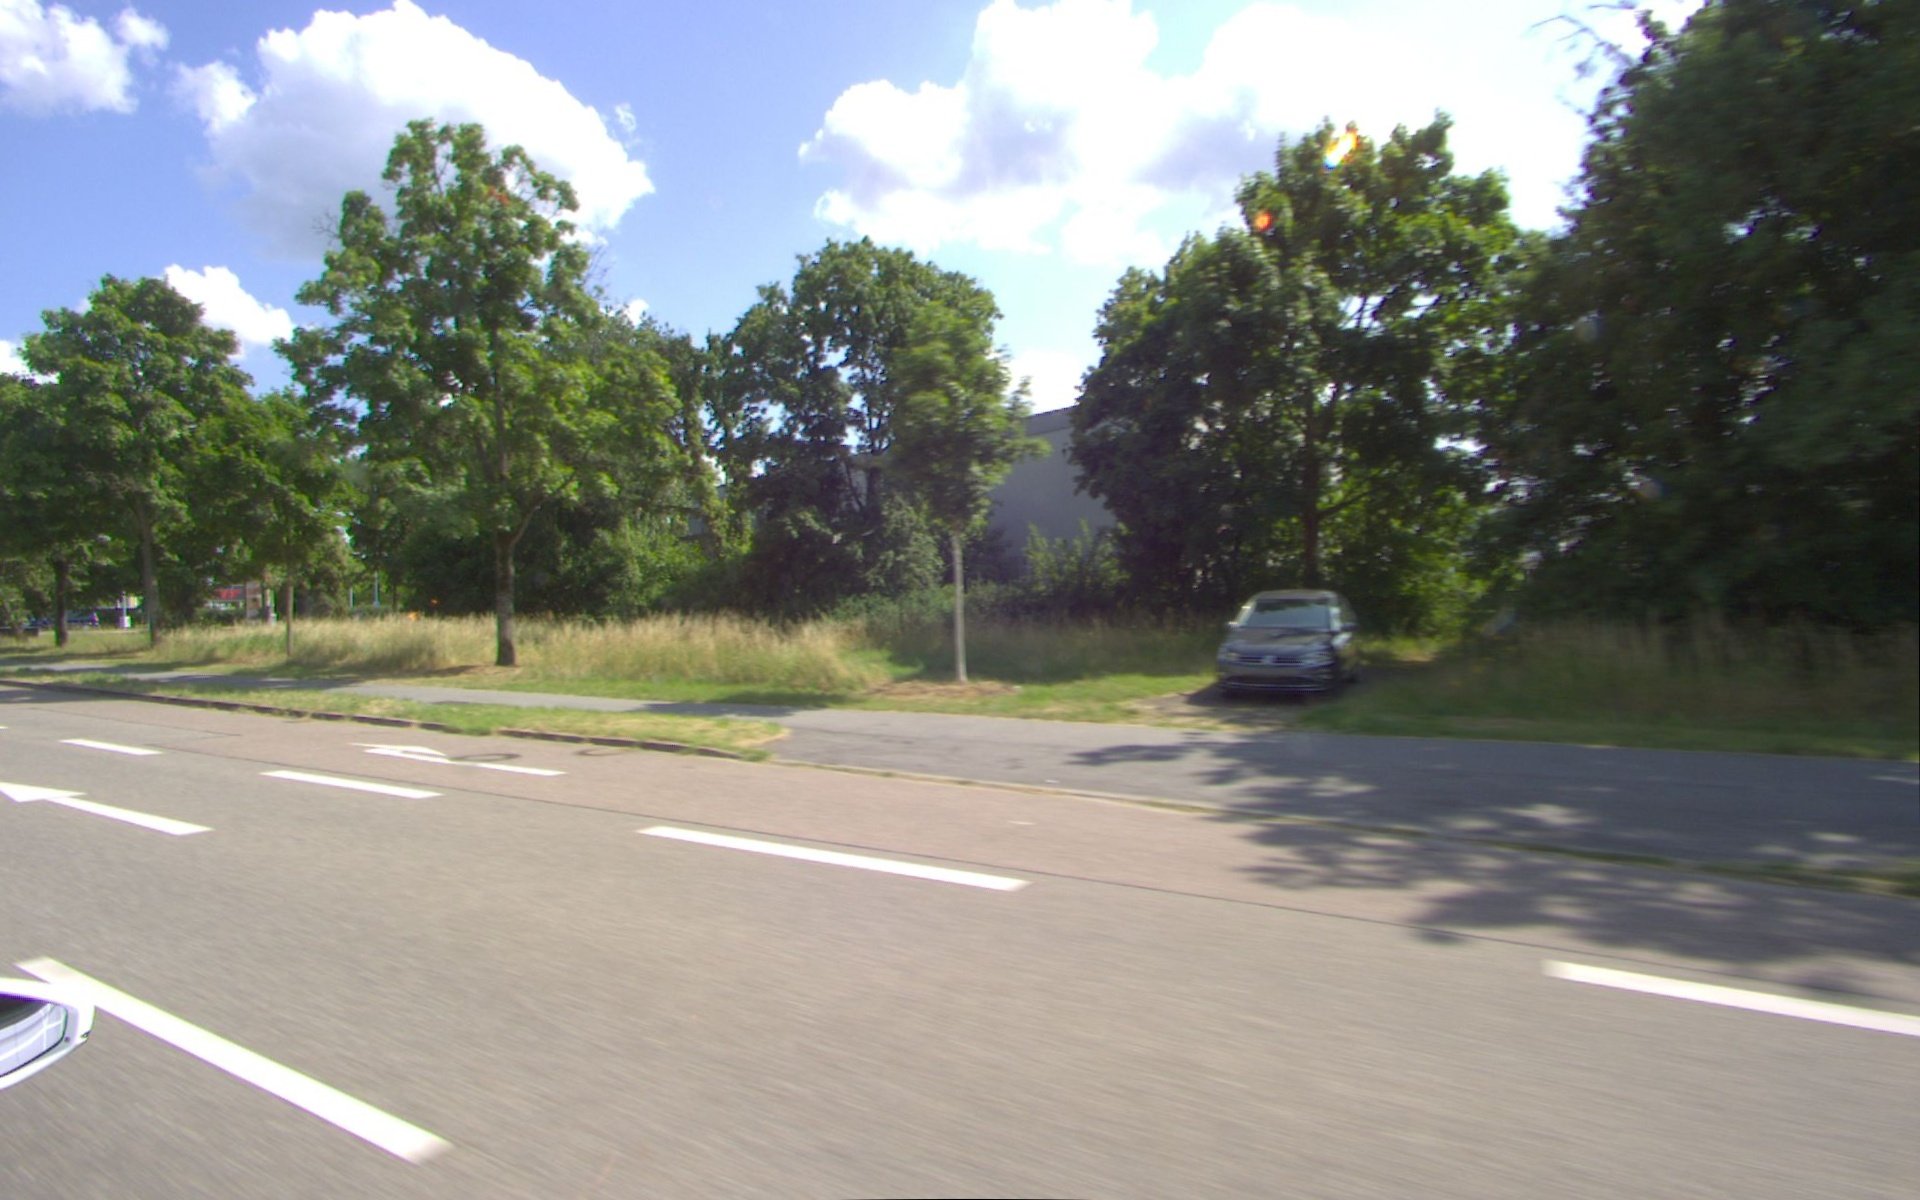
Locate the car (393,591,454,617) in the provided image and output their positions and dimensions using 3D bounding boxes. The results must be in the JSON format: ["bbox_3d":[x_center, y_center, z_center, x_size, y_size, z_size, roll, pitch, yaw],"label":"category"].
[{"bbox_3d":[-52.072,0.416,97.272,4.812,2.253,2.191,2,-3,-43],"label":"car"}]

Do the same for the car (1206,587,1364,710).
[{"bbox_3d":[5.262,0.632,15.877,1.756,1.514,4.158,1,3,27],"label":"car"}]
